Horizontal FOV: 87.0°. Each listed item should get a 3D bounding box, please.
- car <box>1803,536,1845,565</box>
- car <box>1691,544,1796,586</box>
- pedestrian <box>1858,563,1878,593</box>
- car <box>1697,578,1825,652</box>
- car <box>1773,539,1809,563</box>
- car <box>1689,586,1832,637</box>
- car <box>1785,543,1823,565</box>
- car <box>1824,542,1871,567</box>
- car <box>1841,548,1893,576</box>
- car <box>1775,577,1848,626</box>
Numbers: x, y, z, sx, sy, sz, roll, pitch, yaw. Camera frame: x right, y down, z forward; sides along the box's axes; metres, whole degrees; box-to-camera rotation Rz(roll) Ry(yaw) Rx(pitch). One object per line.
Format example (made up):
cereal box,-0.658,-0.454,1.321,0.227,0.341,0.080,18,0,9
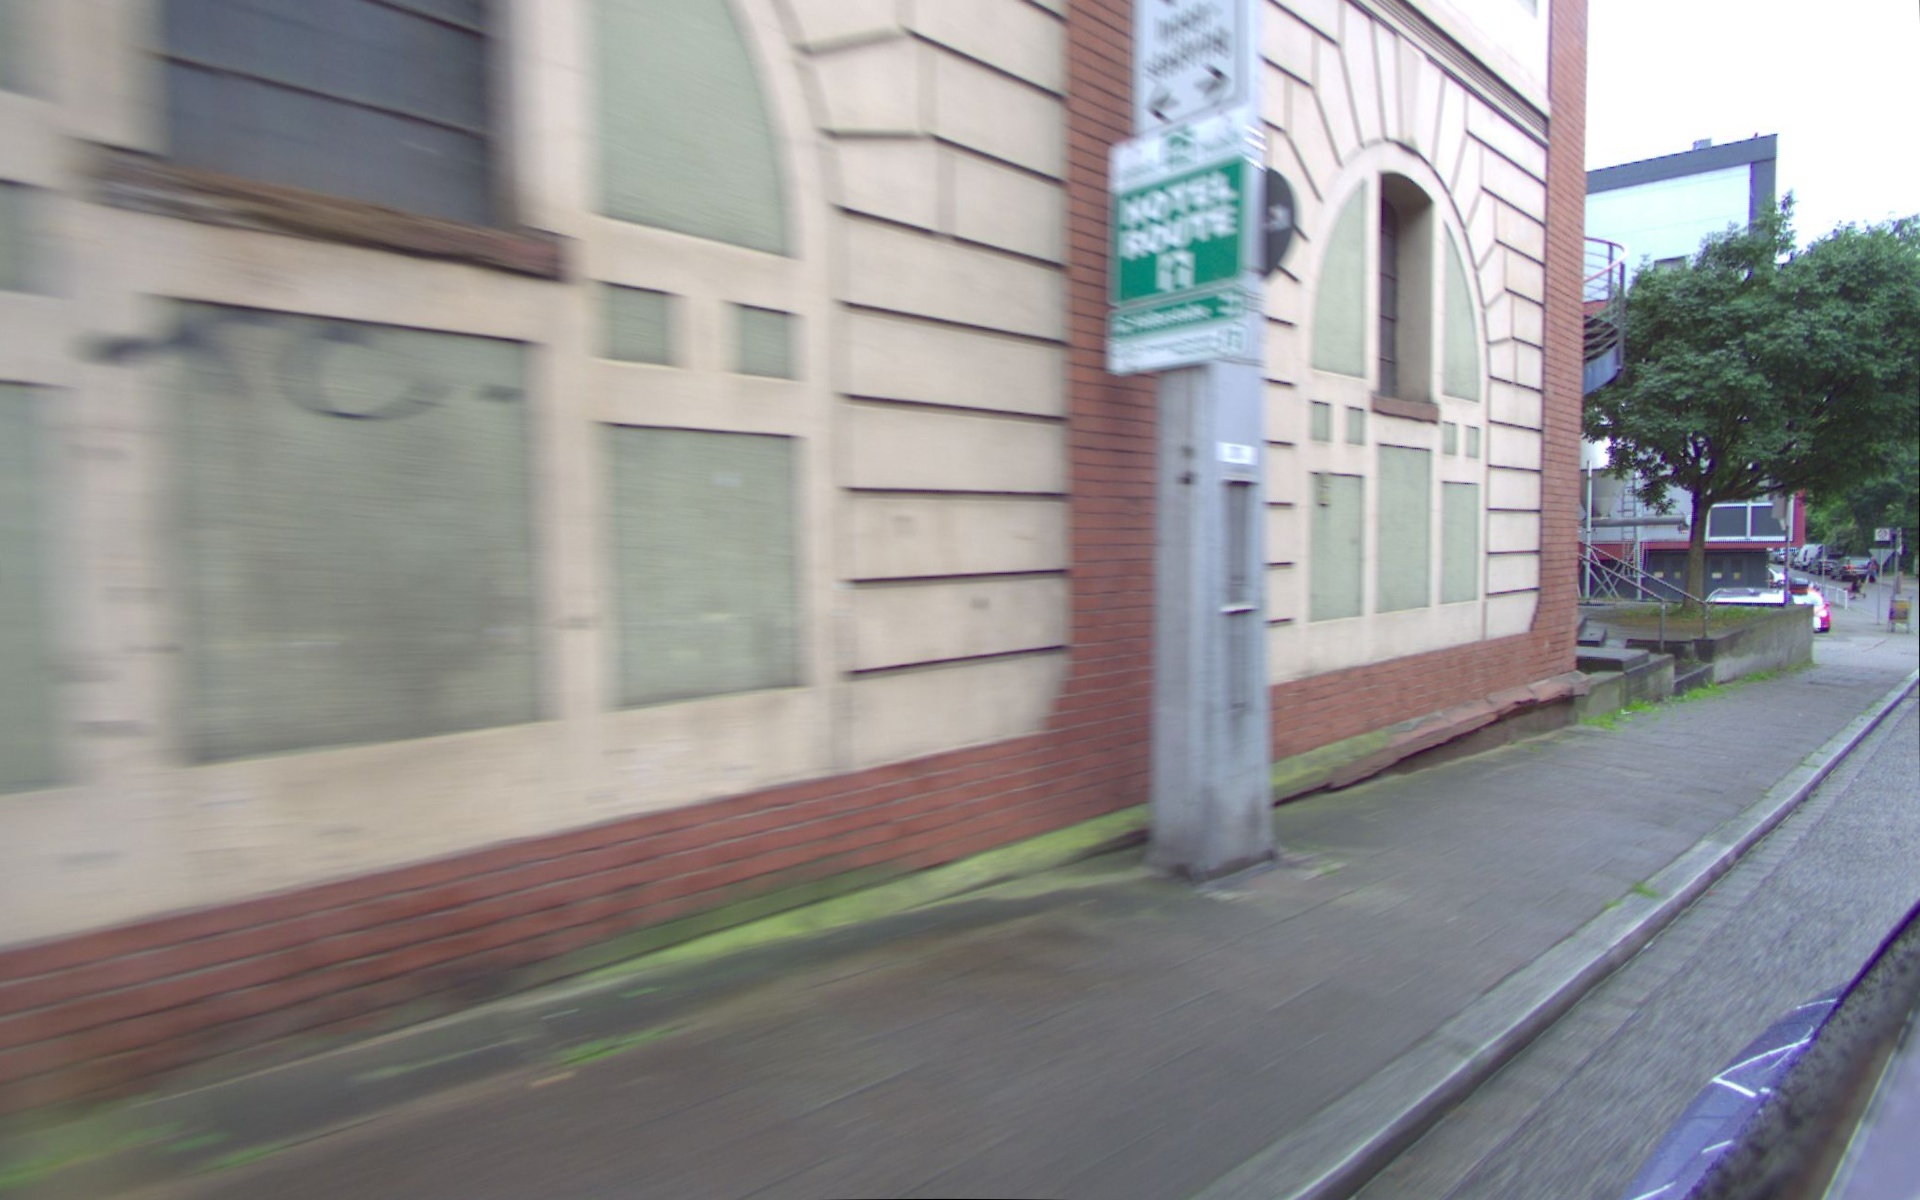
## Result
car,67.961,-3.913,79.671,1.895,2.099,3.957,2,5,32
car,47.031,-2.161,60.815,4.873,2.236,1.857,4,7,41
pedestrian,49.596,-1.221,55.258,0.699,1.585,0.615,1,5,35
car,19.818,0.355,24.960,4.834,1.637,1.854,1,1,-44
car,74.443,-4.399,90.721,1.895,2.058,3.957,2,5,32
car,29.895,0.384,37.963,3.966,1.551,1.854,5,5,34
car,71.223,-3.914,85.476,1.895,1.670,3.957,2,5,32
car,64.428,-3.346,73.496,1.895,1.670,3.957,2,5,32
car,60.748,-2.592,67.831,1.895,1.670,3.957,2,5,32
car,34.733,0.007,41.387,1.922,1.732,4.434,2,4,36
